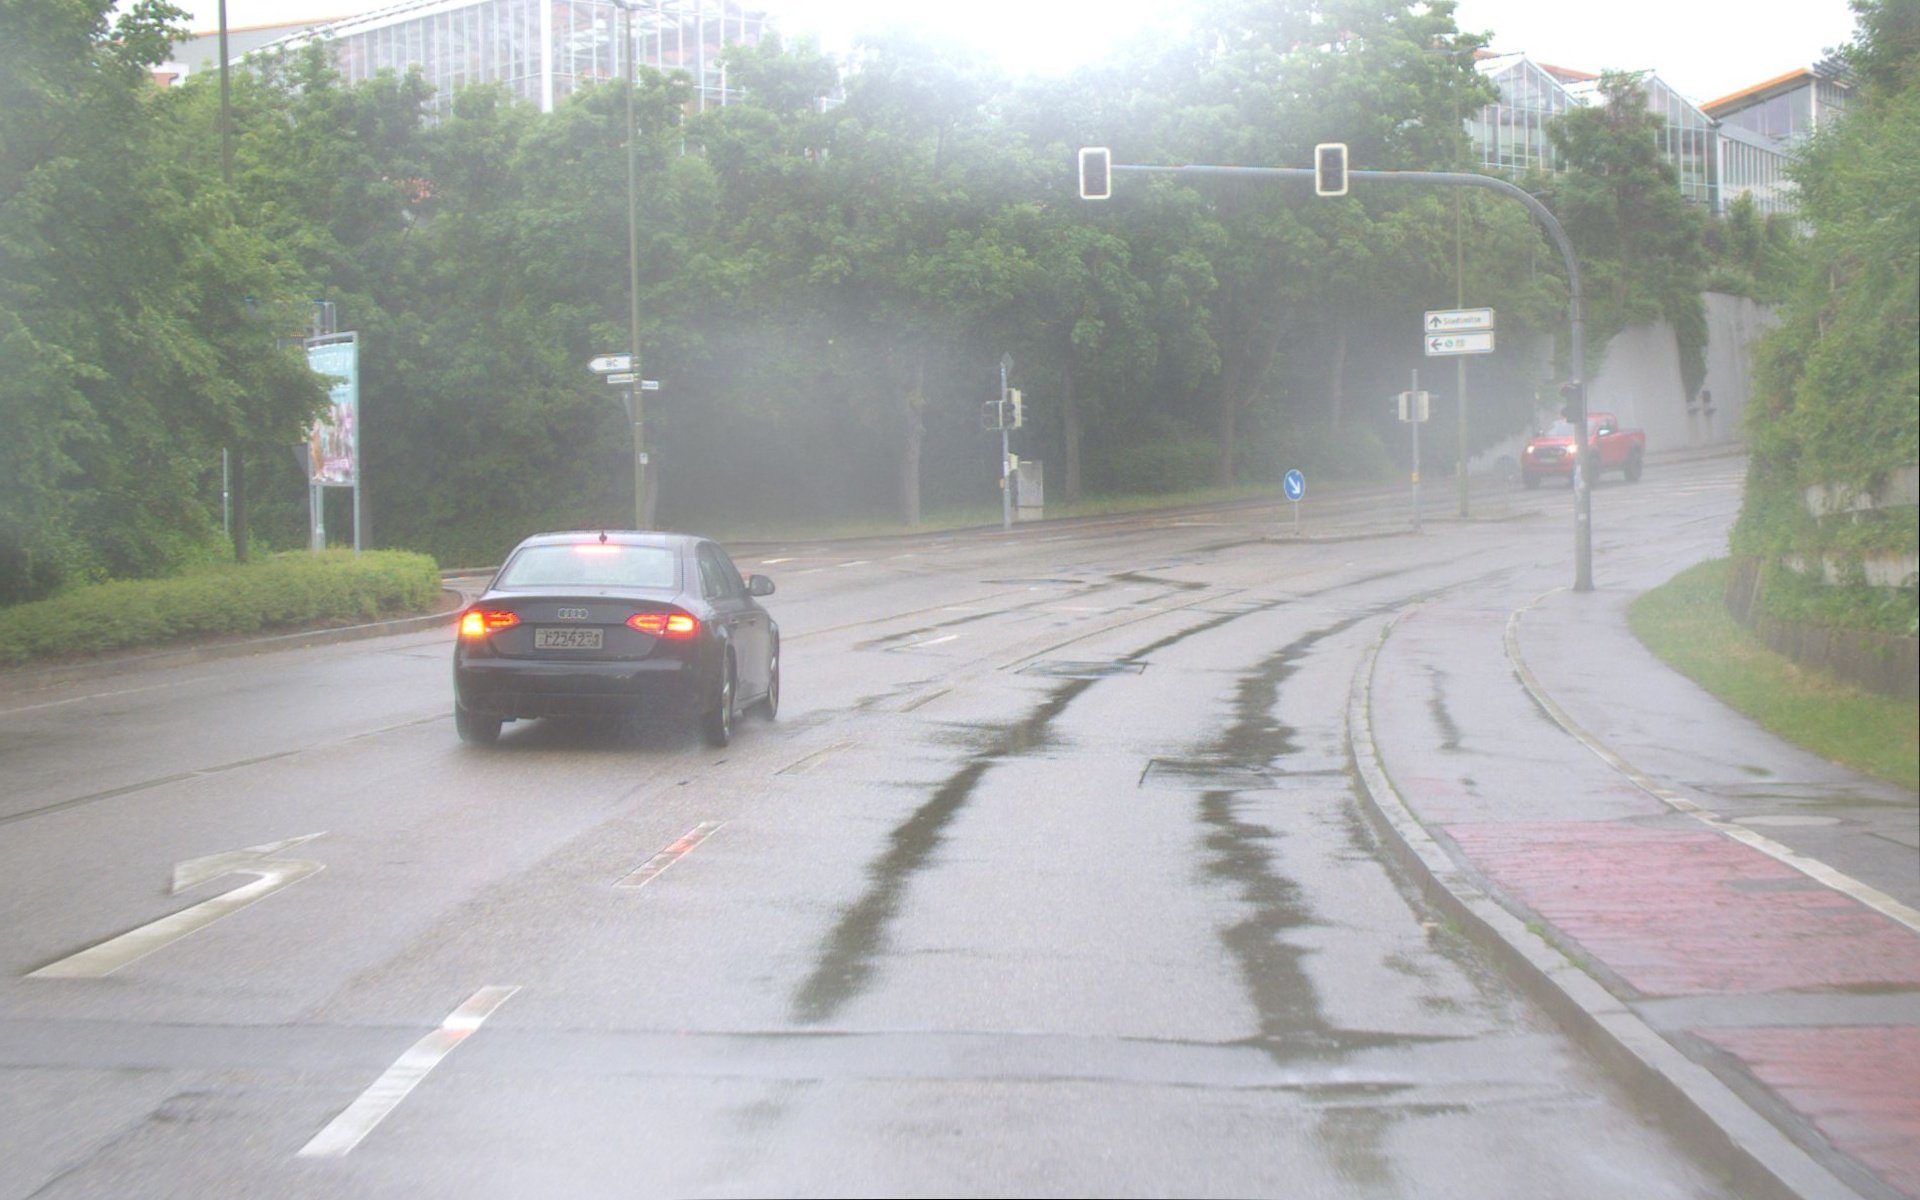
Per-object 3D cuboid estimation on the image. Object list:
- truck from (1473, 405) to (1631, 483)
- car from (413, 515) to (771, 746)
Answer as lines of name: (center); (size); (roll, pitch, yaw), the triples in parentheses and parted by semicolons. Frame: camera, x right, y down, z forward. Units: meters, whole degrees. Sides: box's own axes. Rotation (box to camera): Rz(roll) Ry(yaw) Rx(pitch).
truck: (15.966, -4.179, 92.495); (1.998, 2.006, 5.327); (1, 2, 36)
car: (-2.405, 0.142, 23.433); (1.755, 1.390, 4.000); (0, 2, 4)
